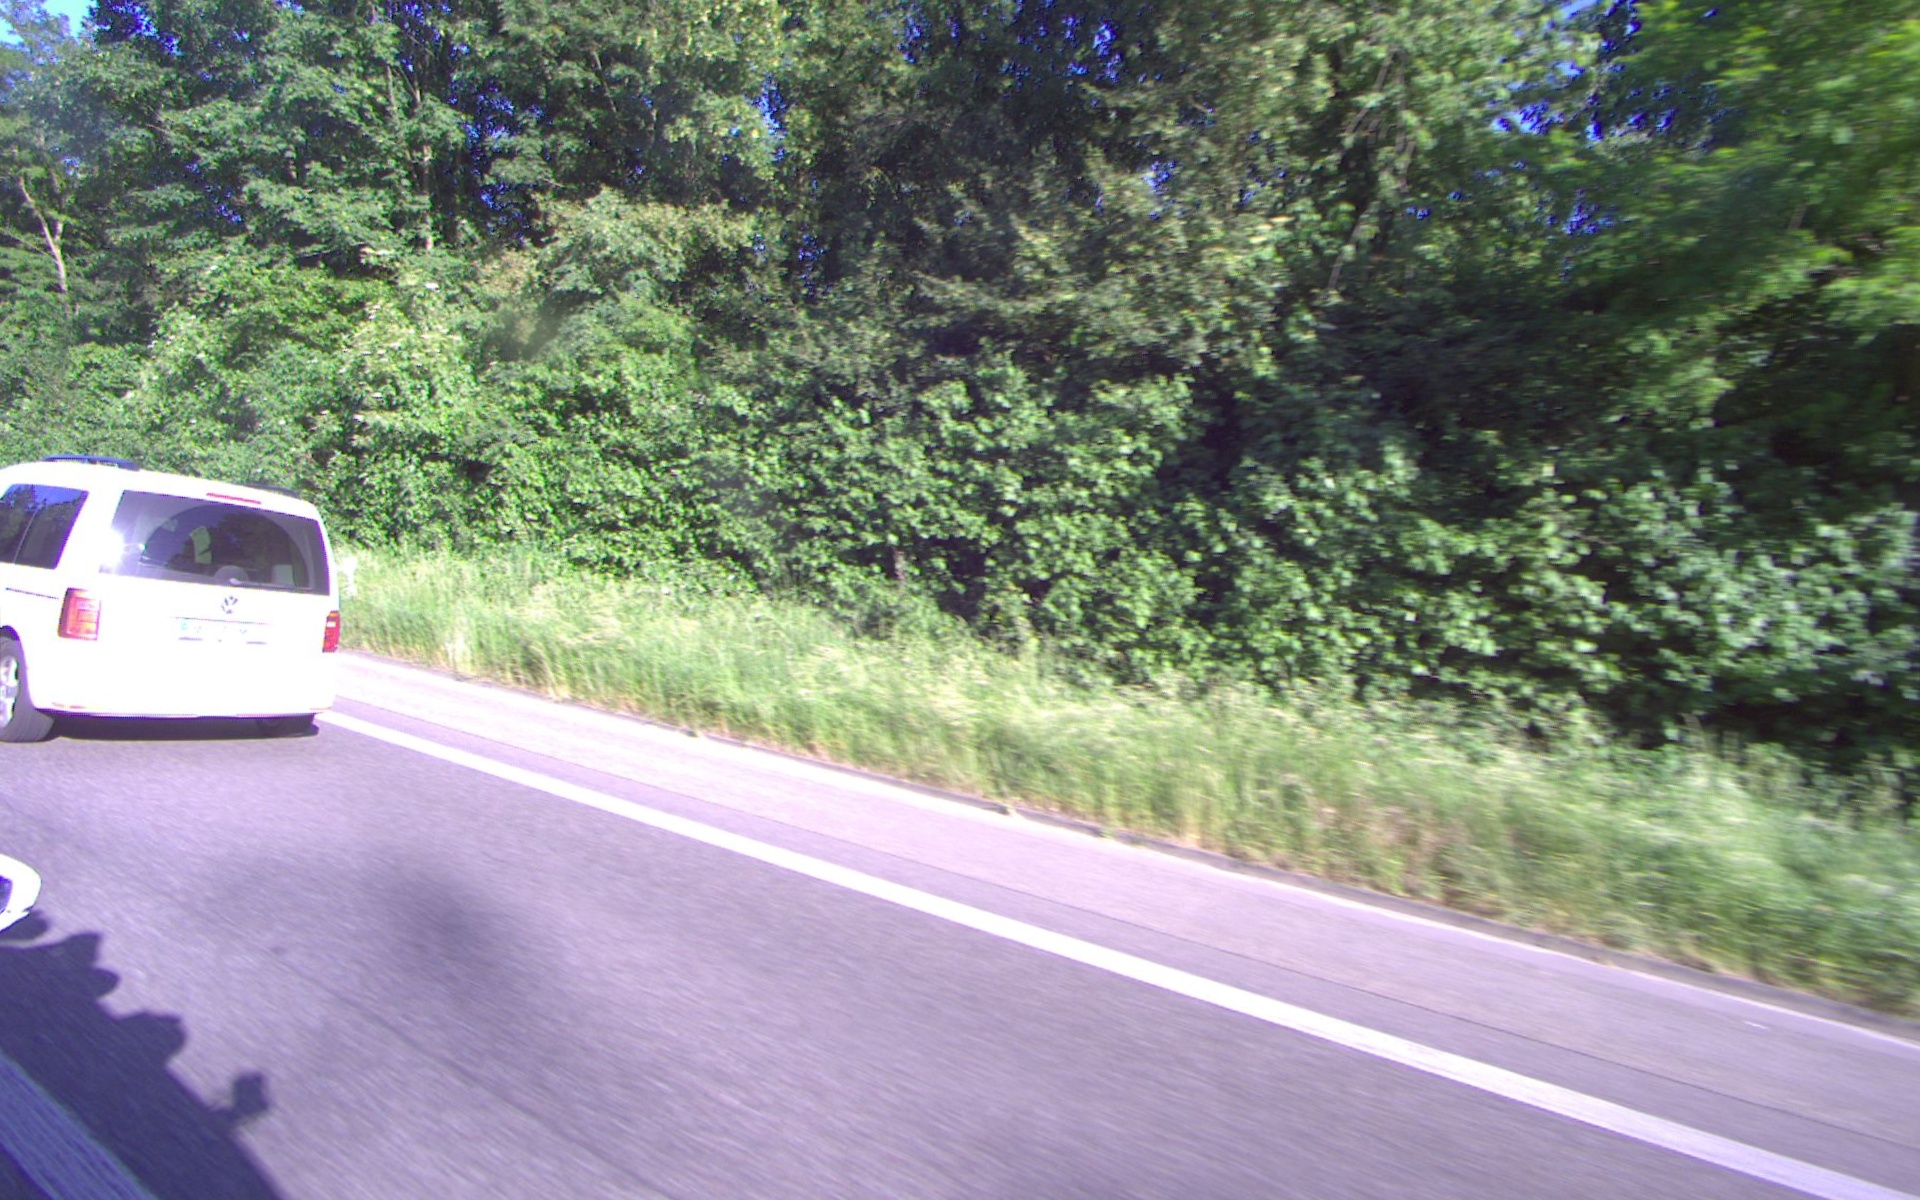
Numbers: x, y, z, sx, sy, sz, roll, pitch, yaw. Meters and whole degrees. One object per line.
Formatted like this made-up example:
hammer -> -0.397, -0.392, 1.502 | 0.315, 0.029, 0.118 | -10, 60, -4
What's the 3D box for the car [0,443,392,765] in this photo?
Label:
car -> -6.590, -0.084, 7.659 | 4.511, 1.833, 1.803 | 6, -2, 31
